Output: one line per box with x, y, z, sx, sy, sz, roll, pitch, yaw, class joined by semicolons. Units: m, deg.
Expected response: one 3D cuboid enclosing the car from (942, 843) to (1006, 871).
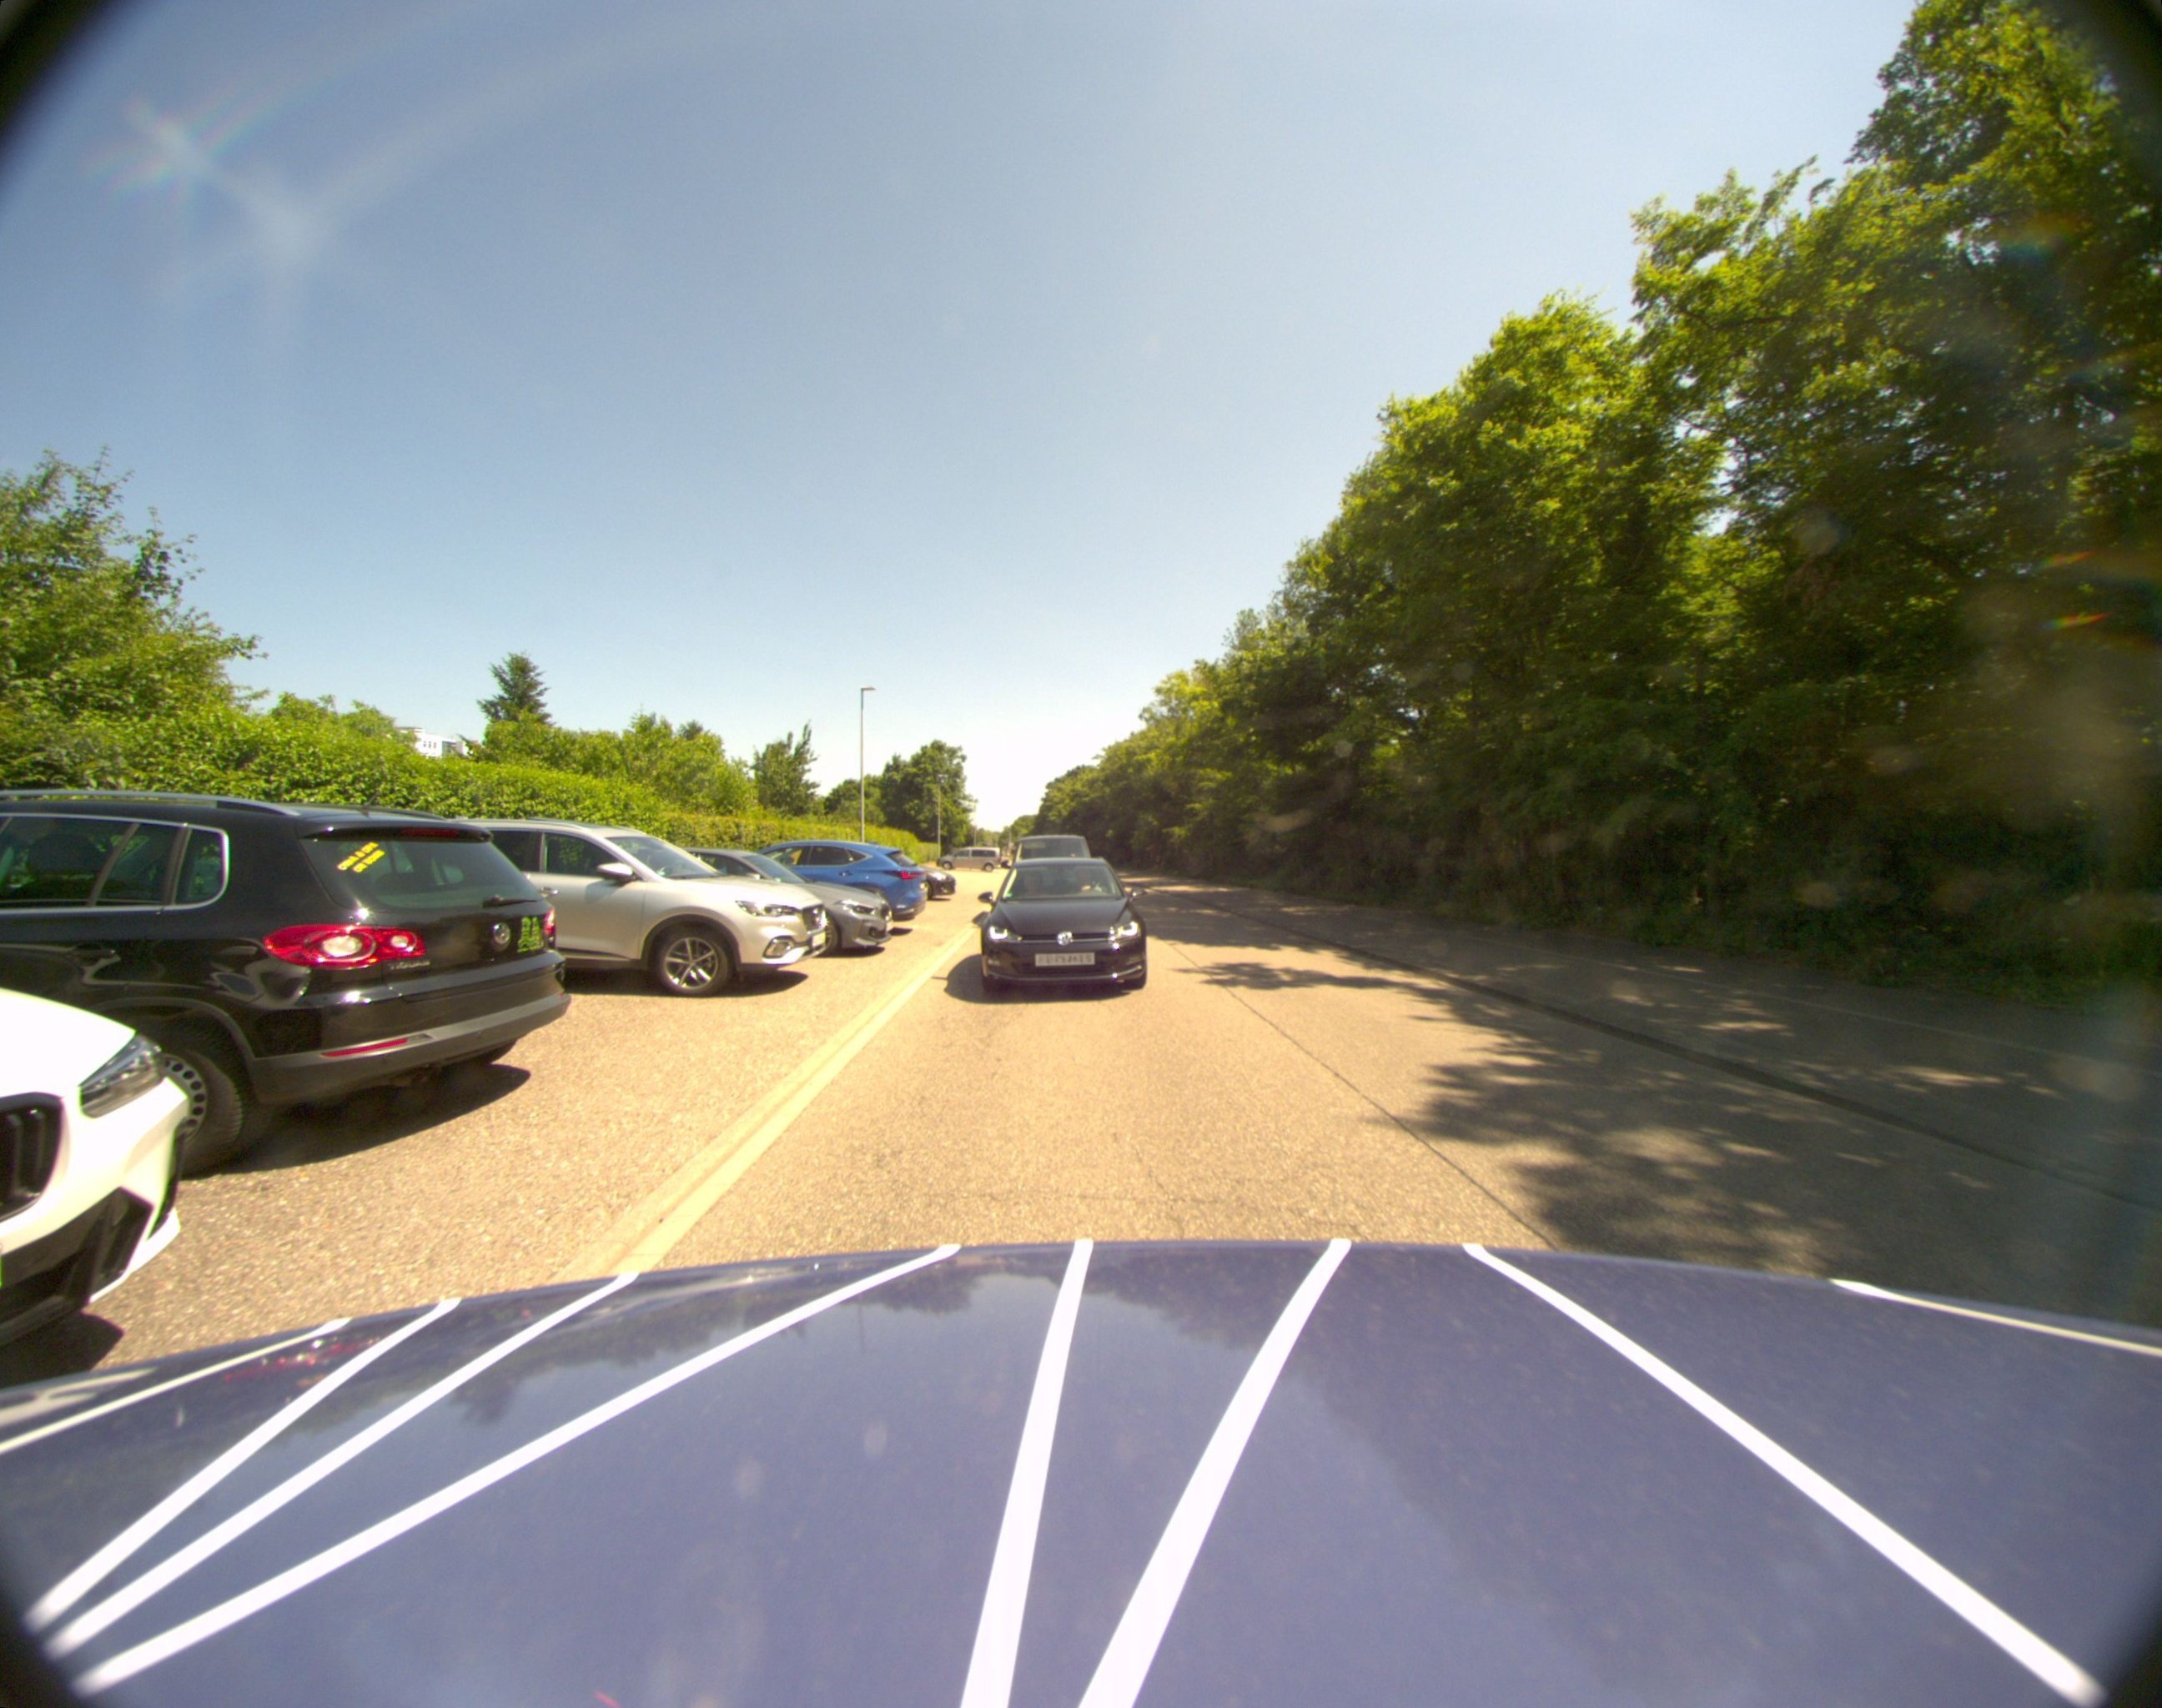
-7.896;0.218;56.332;4.494;1.840;1.694;3;0;-6;car

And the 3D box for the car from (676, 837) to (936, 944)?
-4.842;0.622;13.787;4.037;1.632;1.673;3;1;-2;car

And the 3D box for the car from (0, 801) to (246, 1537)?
-4.724;0.660;1.317;4.465;1.720;1.850;2;1;-1;car

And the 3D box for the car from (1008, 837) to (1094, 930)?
-0.716;0.597;17.820;1.743;1.905;4.387;-1;0;-3;car

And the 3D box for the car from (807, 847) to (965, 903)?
-5.770;0.608;22.813;4.252;1.410;1.649;3;1;-2;car

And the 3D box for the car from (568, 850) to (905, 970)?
-4.762;0.744;10.956;4.037;1.401;1.679;3;1;-3;car

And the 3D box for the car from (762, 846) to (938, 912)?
-5.947;0.624;19.896;4.037;1.438;1.649;3;1;-2;car

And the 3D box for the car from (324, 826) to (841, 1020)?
-4.914;0.656;8.015;4.171;1.632;1.775;3;1;-4;car

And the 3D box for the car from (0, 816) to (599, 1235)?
-5.098;0.665;3.953;3.983;1.676;1.766;2;0;-2;car

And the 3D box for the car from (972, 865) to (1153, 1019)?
-0.269;0.884;9.583;1.743;1.396;4.387;-1;0;-3;car
